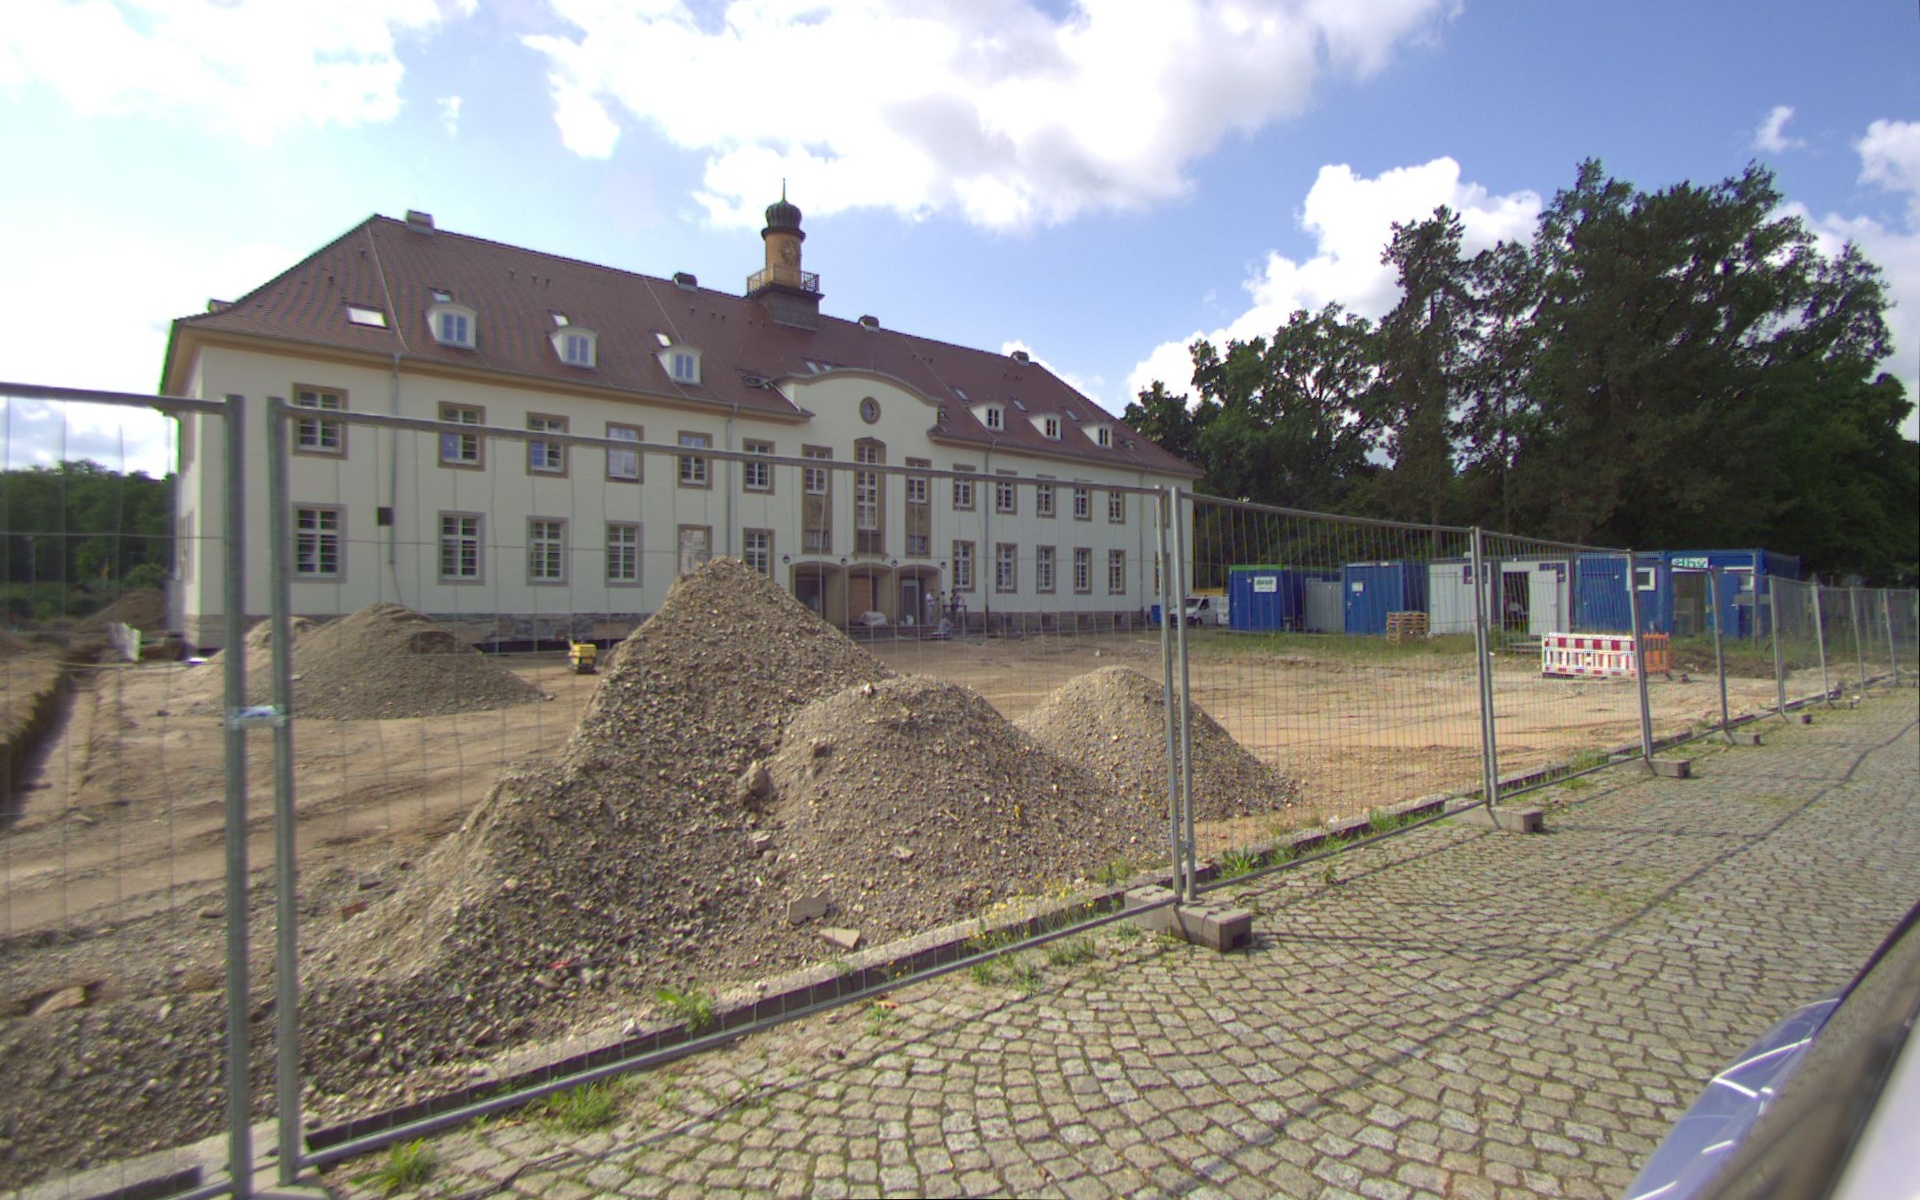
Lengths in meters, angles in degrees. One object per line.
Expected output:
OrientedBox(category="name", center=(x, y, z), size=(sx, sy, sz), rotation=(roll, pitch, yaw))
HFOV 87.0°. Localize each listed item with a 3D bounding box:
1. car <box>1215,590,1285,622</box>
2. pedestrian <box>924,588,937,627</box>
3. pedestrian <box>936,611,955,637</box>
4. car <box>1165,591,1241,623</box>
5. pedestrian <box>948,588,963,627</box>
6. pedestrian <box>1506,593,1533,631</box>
OrientedBox(category="car", center=(16.127, 0.331, 56.221), size=(3.967, 1.705, 1.801), rotation=(0, 0, -40))
OrientedBox(category="pedestrian", center=(-1.358, 0.350, 46.996), size=(0.496, 1.811, 0.492), rotation=(0, -1, -18))
OrientedBox(category="pedestrian", center=(-0.654, 1.085, 45.718), size=(0.697, 1.128, 0.490), rotation=(1, -1, -42))
OrientedBox(category="car", center=(14.031, 0.365, 58.383), size=(4.624, 1.750, 1.883), rotation=(0, 0, -40))
OrientedBox(category="pedestrian", center=(-0.212, 0.345, 47.856), size=(0.498, 1.811, 0.490), rotation=(1, -1, -43))
OrientedBox(category="pedestrian", center=(19.265, 0.411, 34.849), size=(0.671, 1.259, 0.602), rotation=(1, -1, -42))
